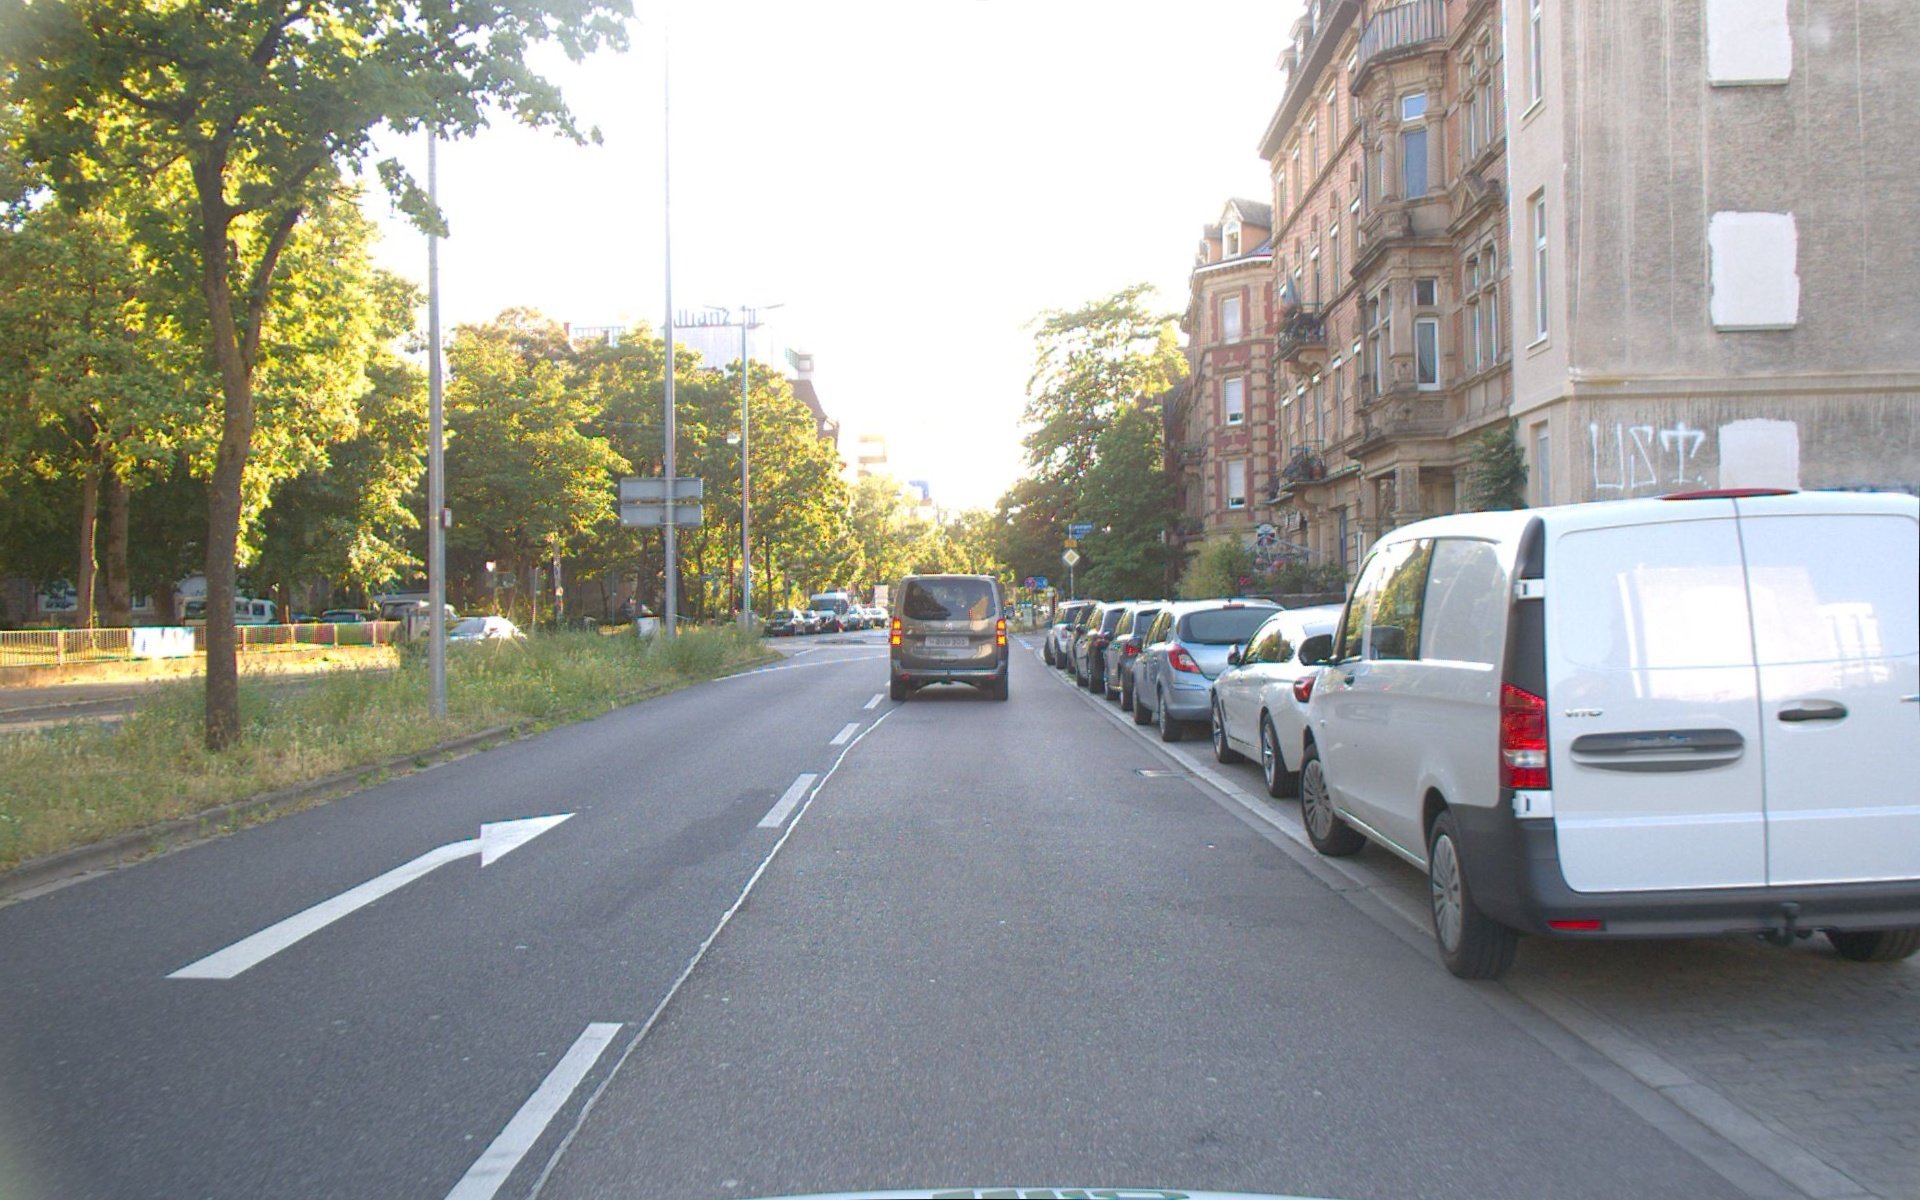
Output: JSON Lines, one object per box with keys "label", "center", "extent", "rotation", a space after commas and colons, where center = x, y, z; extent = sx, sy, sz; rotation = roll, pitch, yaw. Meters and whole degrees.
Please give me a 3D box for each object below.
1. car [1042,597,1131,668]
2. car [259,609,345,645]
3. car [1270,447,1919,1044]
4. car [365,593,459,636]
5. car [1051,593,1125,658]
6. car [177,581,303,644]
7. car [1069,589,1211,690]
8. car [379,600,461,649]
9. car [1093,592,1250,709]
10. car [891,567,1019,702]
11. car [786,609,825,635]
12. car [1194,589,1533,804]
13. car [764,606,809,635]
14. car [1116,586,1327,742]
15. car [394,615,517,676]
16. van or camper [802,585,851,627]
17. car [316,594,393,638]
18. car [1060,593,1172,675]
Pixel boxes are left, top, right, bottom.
{"label": "car", "center": [2.874, 0.729, 38.294], "extent": [1.643, 1.451, 3.676], "rotation": [-4, 0, -1]}
{"label": "car", "center": [-25.524, 1.026, 64.259], "extent": [1.696, 1.355, 4.000], "rotation": [0, 0, 1]}
{"label": "car", "center": [2.938, 0.495, 8.278], "extent": [1.848, 1.952, 5.180], "rotation": [-4, 0, 2]}
{"label": "car", "center": [-33.961, 0.878, 102.609], "extent": [2.230, 2.529, 5.209], "rotation": [-1, 0, 38]}
{"label": "car", "center": [3.323, 0.643, 43.296], "extent": [1.690, 1.490, 3.547], "rotation": [-4, 0, 2]}
{"label": "car", "center": [-28.056, 0.482, 64.655], "extent": [2.168, 2.329, 5.102], "rotation": [0, 0, 7]}
{"label": "car", "center": [3.023, 0.644, 28.630], "extent": [1.849, 1.473, 4.463], "rotation": [-4, 0, 0]}
{"label": "car", "center": [-20.758, 0.939, 63.764], "extent": [1.781, 1.826, 4.000], "rotation": [0, 0, 1]}
{"label": "car", "center": [3.006, 0.694, 24.222], "extent": [1.711, 1.451, 3.840], "rotation": [-4, 0, 0]}
{"label": "car", "center": [-0.077, 0.525, 26.491], "extent": [1.849, 1.958, 3.839], "rotation": [-1, 0, 0]}
{"label": "car", "center": [-9.076, 1.271, 97.344], "extent": [1.594, 1.454, 4.244], "rotation": [-2, 0, 4]}
{"label": "car", "center": [3.208, 0.699, 14.139], "extent": [1.693, 1.409, 4.642], "rotation": [-4, 0, 0]}
{"label": "car", "center": [-9.600, 1.107, 91.599], "extent": [1.589, 1.533, 4.547], "rotation": [-1, 0, 5]}
{"label": "car", "center": [2.928, 0.684, 19.286], "extent": [1.666, 1.513, 3.891], "rotation": [-4, 0, -1]}
{"label": "car", "center": [-12.586, 1.106, 41.496], "extent": [1.738, 1.295, 4.008], "rotation": [-4, 0, 1]}
{"label": "van or camper", "center": [-8.421, 0.405, 104.729], "extent": [2.047, 2.511, 6.309], "rotation": [-2, 0, 4]}
{"label": "car", "center": [-27.810, 0.728, 76.096], "extent": [1.952, 1.915, 4.000], "rotation": [1, 0, 1]}
{"label": "car", "center": [3.127, 0.662, 33.944], "extent": [1.849, 1.451, 4.342], "rotation": [-4, 0, 1]}
